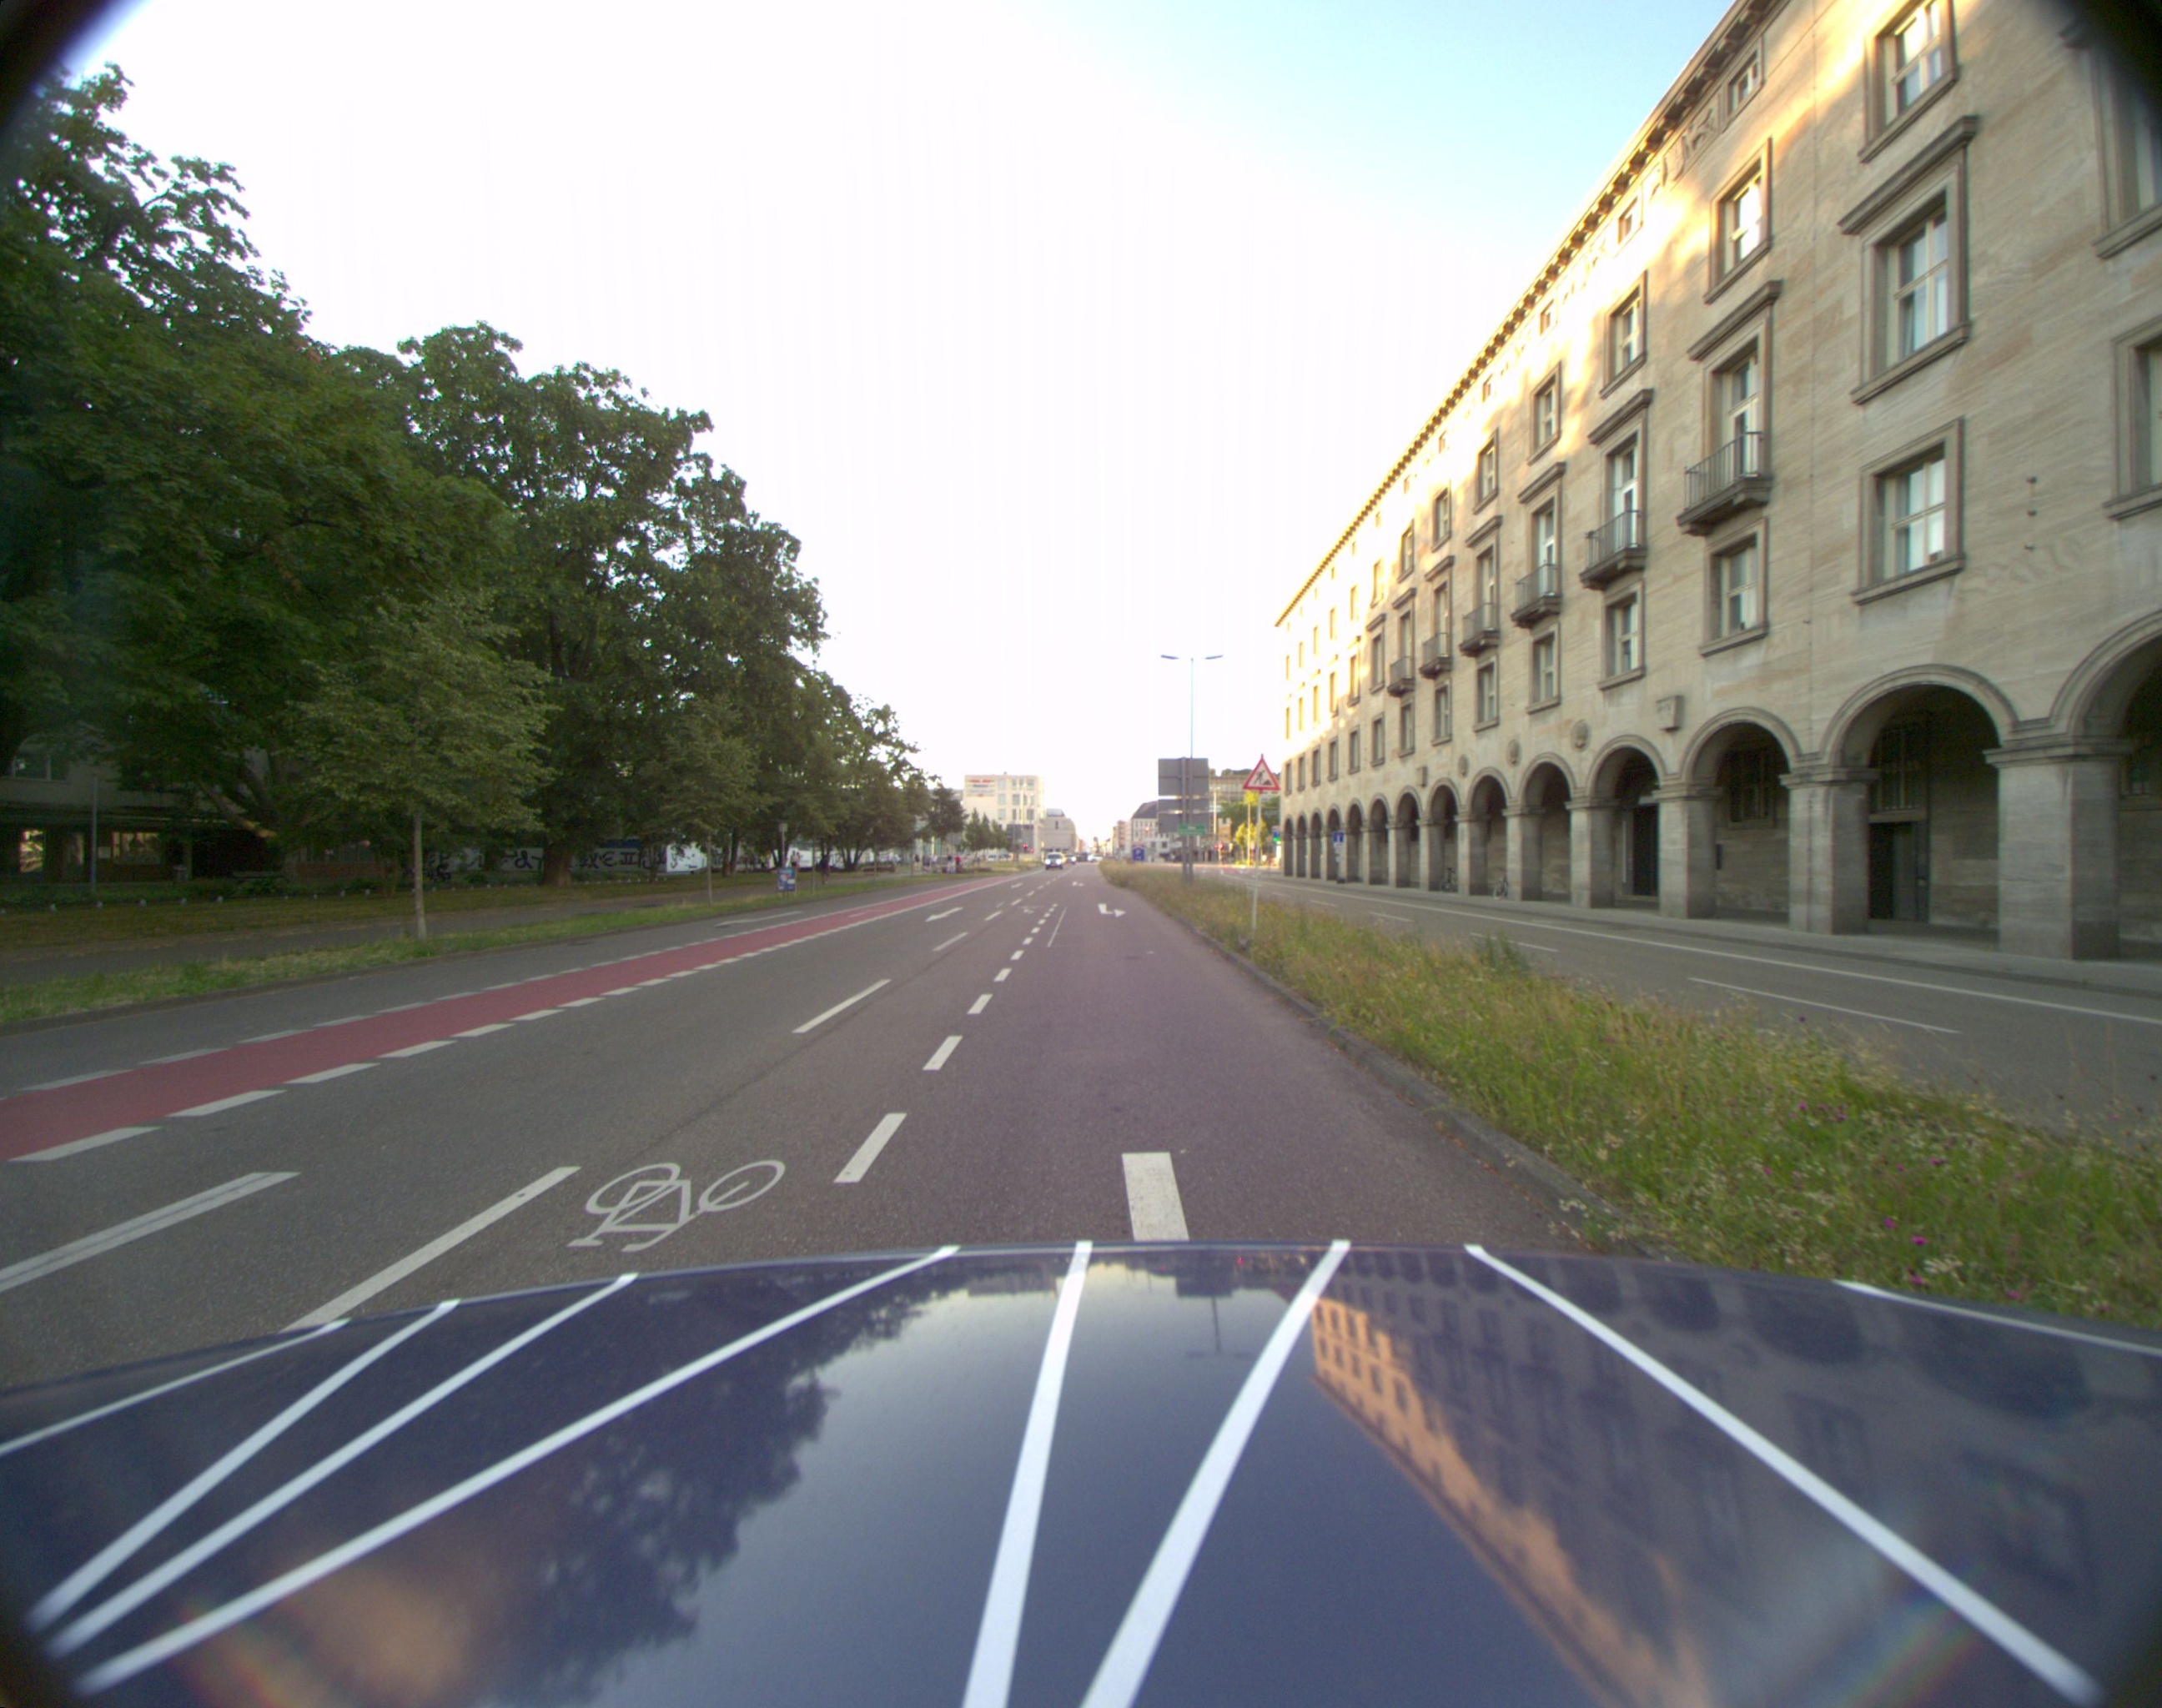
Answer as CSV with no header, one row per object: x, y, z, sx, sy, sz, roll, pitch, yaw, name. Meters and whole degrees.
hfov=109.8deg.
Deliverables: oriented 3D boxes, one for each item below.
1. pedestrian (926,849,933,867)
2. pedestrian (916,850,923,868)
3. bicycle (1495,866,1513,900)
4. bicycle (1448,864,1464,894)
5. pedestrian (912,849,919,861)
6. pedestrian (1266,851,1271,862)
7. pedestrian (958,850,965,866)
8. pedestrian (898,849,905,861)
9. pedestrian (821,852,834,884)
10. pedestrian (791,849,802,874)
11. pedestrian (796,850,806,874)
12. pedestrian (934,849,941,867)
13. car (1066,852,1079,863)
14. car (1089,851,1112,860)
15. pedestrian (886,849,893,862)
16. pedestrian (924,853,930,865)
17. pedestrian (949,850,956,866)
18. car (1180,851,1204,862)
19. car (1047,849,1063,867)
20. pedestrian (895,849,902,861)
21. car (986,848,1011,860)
-14.872,0.398,74.422,0.519,1.720,0.719,0,1,1,pedestrian
-14.931,0.459,70.303,0.509,1.720,0.719,0,1,1,pedestrian
15.329,1.032,27.532,0.513,1.115,2.427,0,1,30,bicycle
15.452,1.010,31.353,0.513,1.172,2.427,0,0,25,bicycle
-18.977,0.138,87.263,0.662,1.347,0.559,0,1,1,pedestrian
26.607,0.329,107.840,0.526,1.532,0.390,0,1,1,pedestrian
-13.507,0.461,86.020,0.638,1.747,0.506,0,1,1,pedestrian
-20.457,0.126,86.576,0.728,1.347,0.614,0,1,1,pedestrian
-13.753,0.746,41.232,0.558,1.729,0.555,0,1,1,pedestrian
-18.186,0.485,48.538,0.500,1.592,0.522,0,1,1,pedestrian
-18.551,0.555,50.337,0.500,1.592,0.365,0,1,1,pedestrian
-14.020,0.401,74.415,0.509,1.720,0.719,0,1,1,pedestrian
-1.243,0.470,115.373,1.826,1.612,4.336,0,0,0,car
3.508,0.243,138.918,4.029,1.599,1.999,0,0,-6,car
-21.123,0.163,83.877,0.519,1.347,0.773,0,1,1,pedestrian
-17.654,0.563,87.118,0.654,1.347,0.505,0,1,1,pedestrian
-14.607,0.461,86.470,0.638,1.747,0.506,0,1,1,pedestrian
20.329,0.380,139.212,3.998,2.002,1.999,0,0,-3,car
-2.882,0.423,84.902,1.767,1.877,4.499,0,0,-1,car
-20.141,0.119,83.922,0.519,1.347,0.773,0,1,1,pedestrian
-14.224,0.027,131.075,3.998,2.002,1.999,0,0,-2,car
